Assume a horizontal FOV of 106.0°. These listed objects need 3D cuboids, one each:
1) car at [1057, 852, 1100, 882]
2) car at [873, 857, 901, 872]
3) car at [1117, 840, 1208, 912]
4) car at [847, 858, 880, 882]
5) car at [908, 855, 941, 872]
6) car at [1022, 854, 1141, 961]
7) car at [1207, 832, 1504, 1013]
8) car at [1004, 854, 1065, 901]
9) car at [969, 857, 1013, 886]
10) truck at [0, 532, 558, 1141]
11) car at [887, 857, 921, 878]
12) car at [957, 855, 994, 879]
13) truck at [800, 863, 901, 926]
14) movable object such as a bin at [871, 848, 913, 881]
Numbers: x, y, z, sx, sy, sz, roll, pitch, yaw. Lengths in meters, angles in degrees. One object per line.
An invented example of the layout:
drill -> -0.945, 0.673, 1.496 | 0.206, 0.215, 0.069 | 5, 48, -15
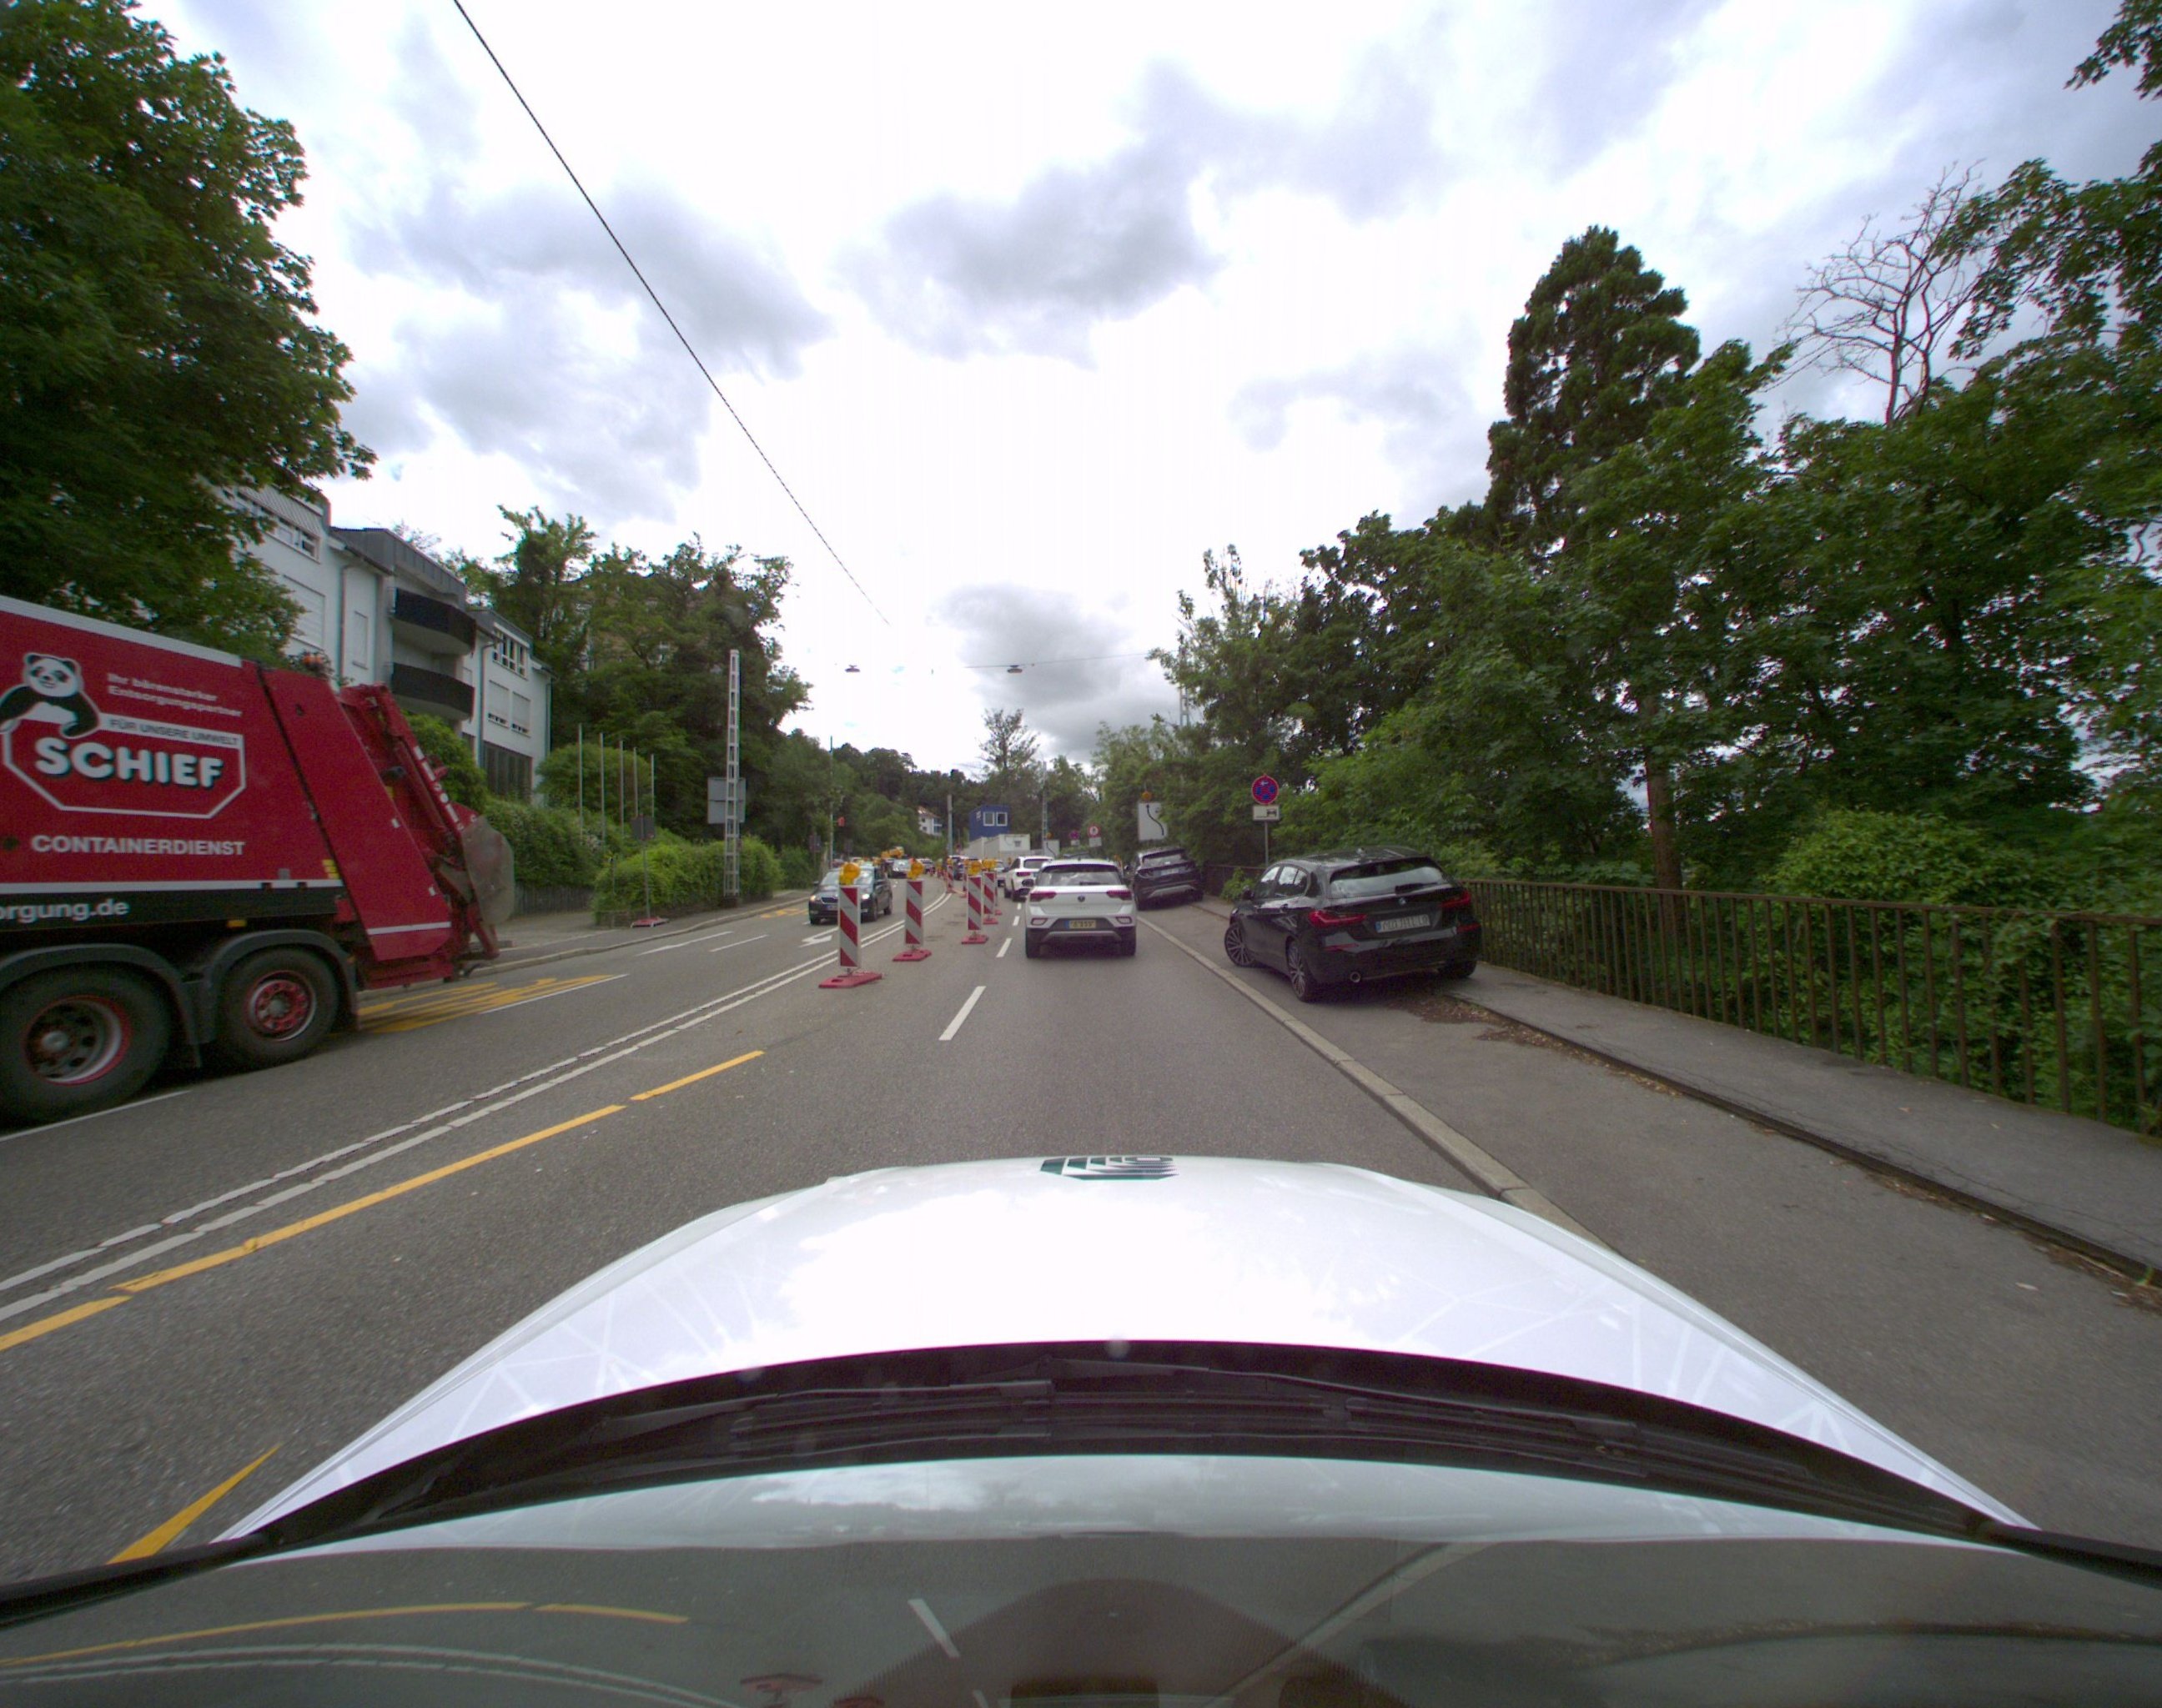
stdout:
car -> -0.191, 0.724, 46.040 | 1.716, 1.518, 3.647 | -4, 0, -10
car -> -21.066, 1.169, 88.349 | 2.005, 1.450, 4.113 | -2, -1, -27
car -> 2.290, 0.590, 23.950 | 1.846, 1.657, 4.138 | -10, 0, -3
car -> -14.136, 1.032, 53.140 | 1.898, 1.382, 3.982 | -2, 0, -13
car -> -14.951, 0.886, 77.609 | 2.004, 1.450, 4.115 | -2, -1, -26
car -> -0.118, 0.805, 14.083 | 1.754, 1.555, 3.790 | -1, 0, -4
car -> 2.889, 0.636, 9.666 | 1.803, 1.463, 4.190 | -7, 0, -3
car -> -1.801, 0.827, 30.404 | 1.758, 1.609, 3.781 | -1, 0, -11
car -> -4.912, 0.920, 44.296 | 1.761, 1.471, 3.775 | -1, 0, -16
truck -> -8.012, -0.043, 4.991 | 2.936, 3.698, 9.918 | -4, 0, 0
car -> -13.672, 1.012, 62.760 | 1.903, 1.494, 3.971 | -2, 0, -21
car -> -7.151, 0.913, 55.079 | 1.996, 1.414, 4.131 | -3, -1, -13
truck -> -6.162, 1.030, 22.237 | 1.658, 1.443, 4.024 | -2, 0, -2
movable object such as a bin -> -23.079, 1.317, 98.949 | 3.548, 3.699, 7.435 | -2, 0, -24
